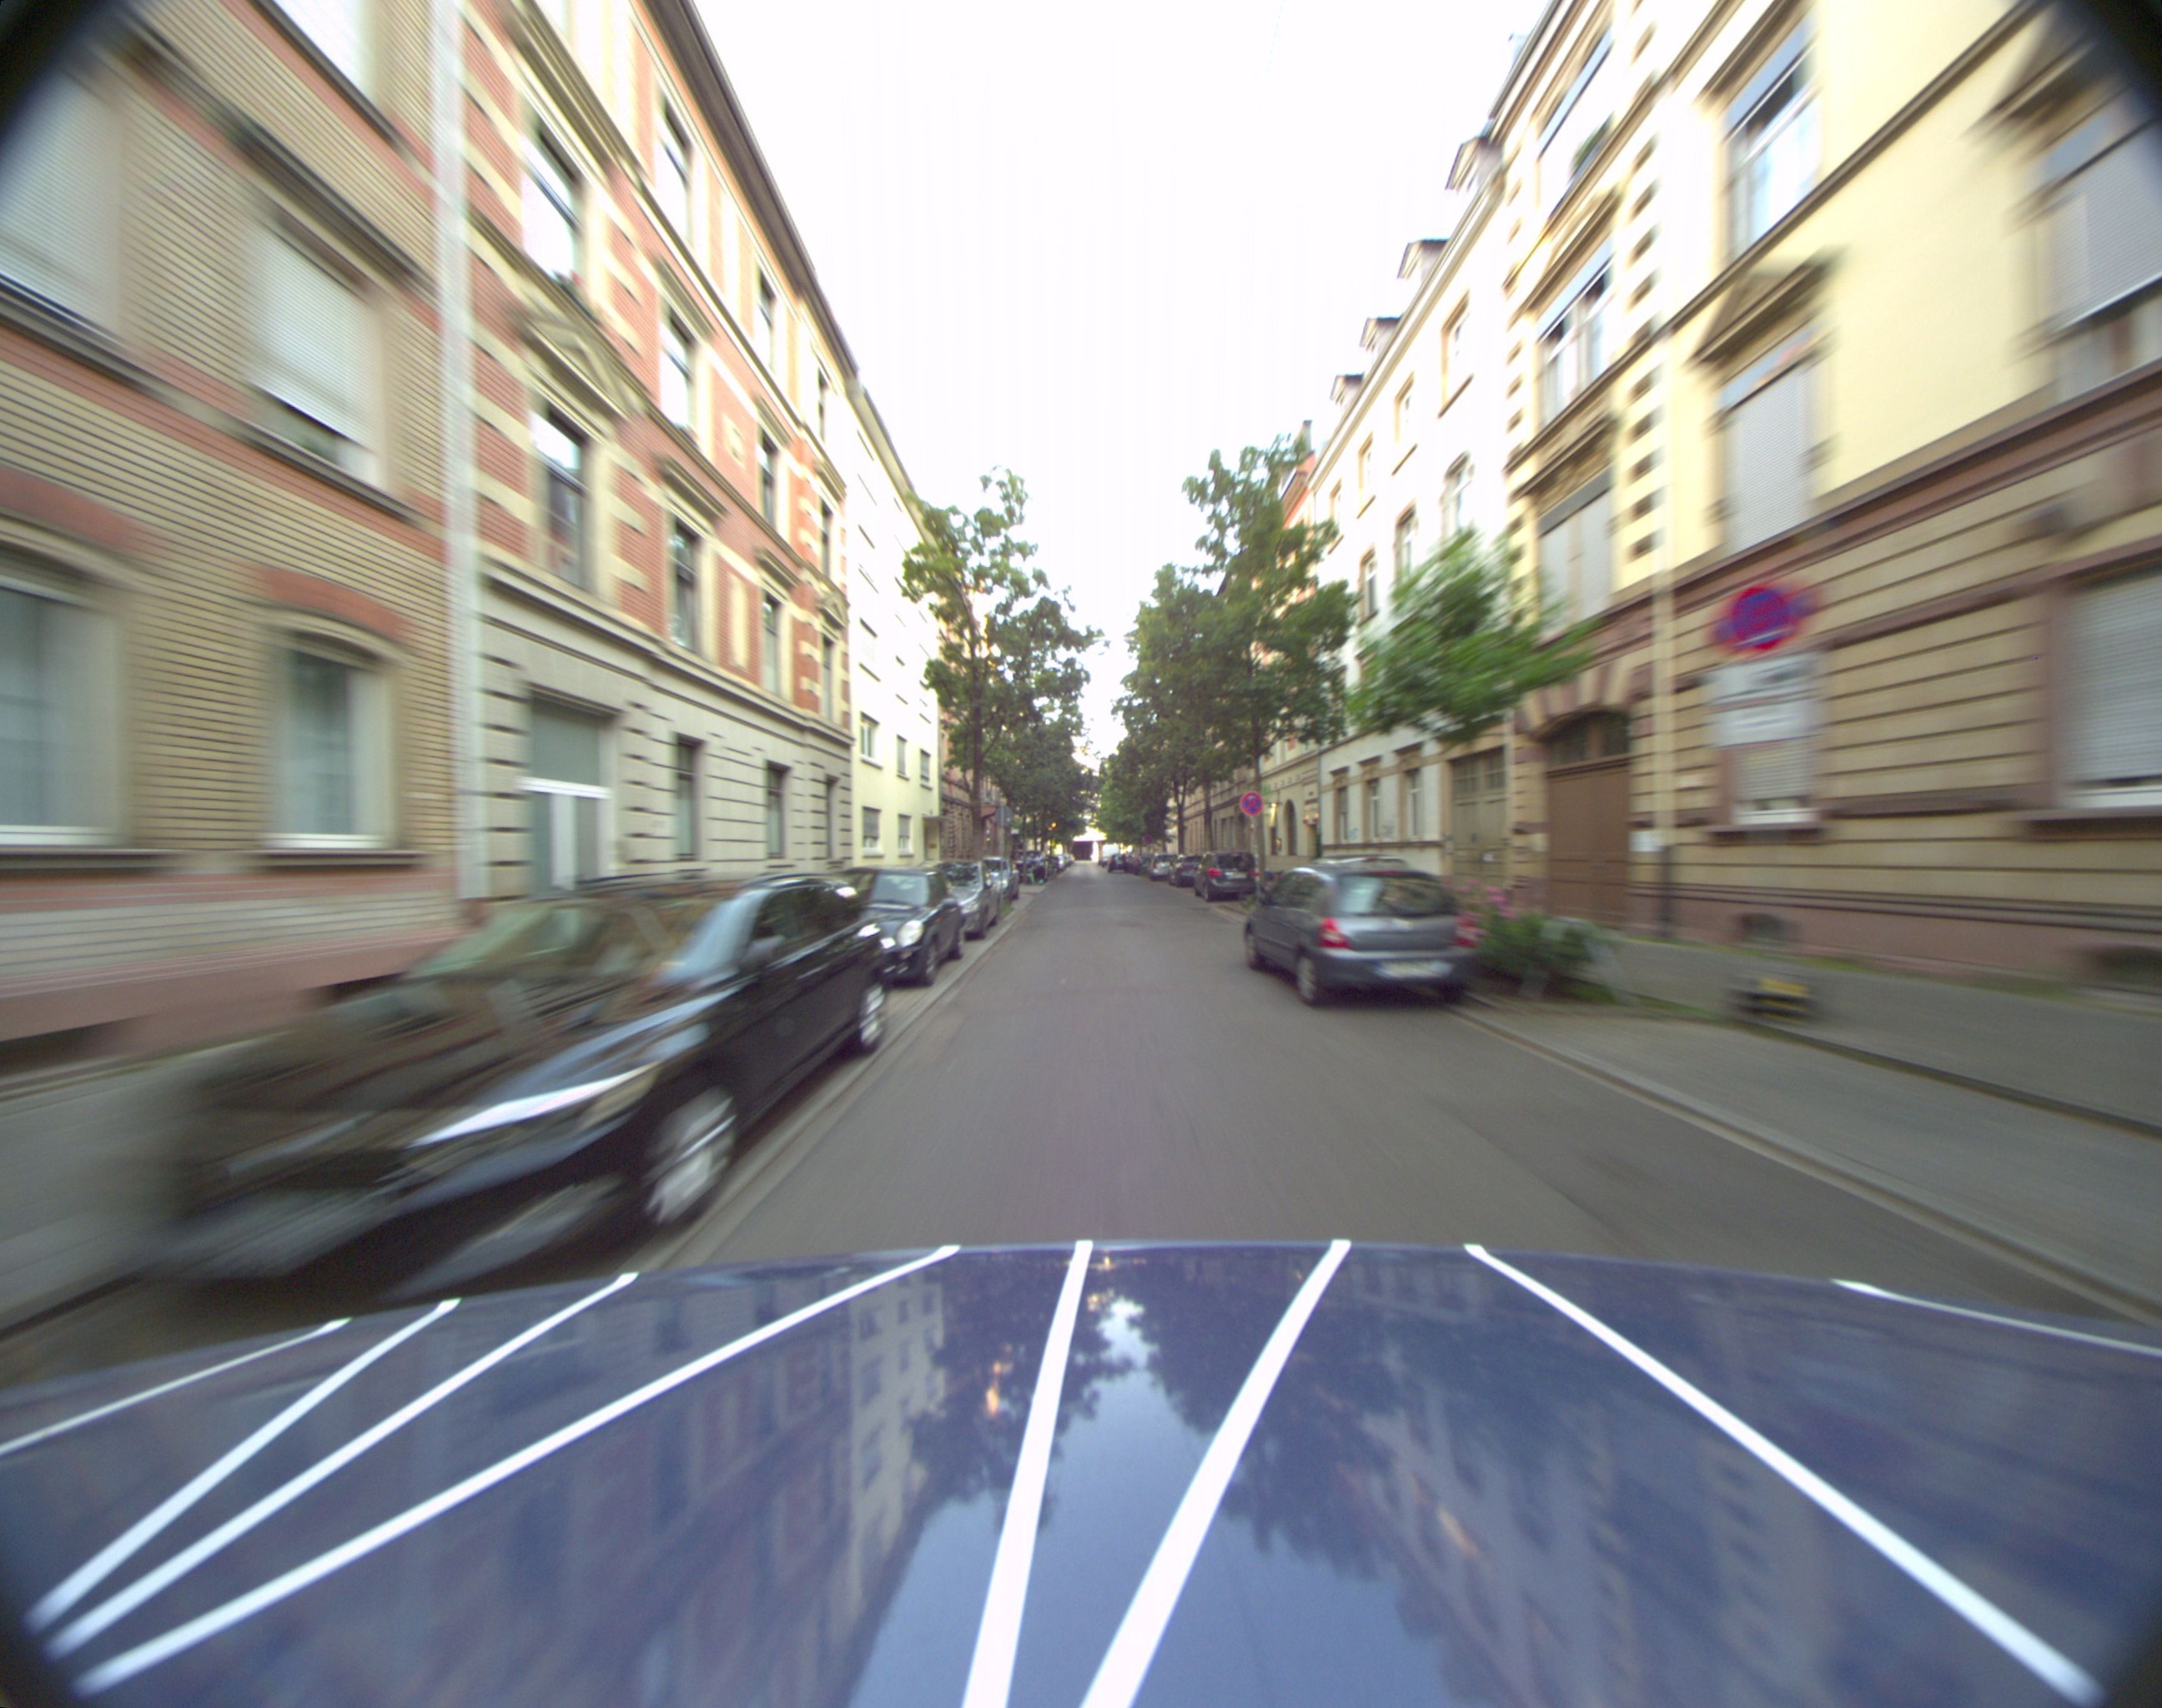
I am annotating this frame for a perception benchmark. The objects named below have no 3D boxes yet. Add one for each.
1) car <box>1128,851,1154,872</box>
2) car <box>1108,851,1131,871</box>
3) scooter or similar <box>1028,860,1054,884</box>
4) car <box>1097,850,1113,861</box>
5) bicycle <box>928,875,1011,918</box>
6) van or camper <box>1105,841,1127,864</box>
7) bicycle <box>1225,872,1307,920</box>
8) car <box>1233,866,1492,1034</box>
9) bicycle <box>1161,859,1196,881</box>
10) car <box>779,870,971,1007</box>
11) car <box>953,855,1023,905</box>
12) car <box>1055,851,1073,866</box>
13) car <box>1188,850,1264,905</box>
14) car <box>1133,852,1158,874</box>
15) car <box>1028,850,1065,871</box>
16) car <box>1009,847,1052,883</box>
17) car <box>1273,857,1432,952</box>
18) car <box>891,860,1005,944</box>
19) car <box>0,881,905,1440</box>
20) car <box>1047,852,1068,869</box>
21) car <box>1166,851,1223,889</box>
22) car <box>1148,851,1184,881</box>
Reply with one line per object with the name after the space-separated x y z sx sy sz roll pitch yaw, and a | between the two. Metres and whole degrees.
4.714 0.569 60.196 1.695 1.493 3.711 -3 1 -1 | car
3.250 0.583 64.429 1.728 1.564 4.219 -1 0 0 | car
-2.008 0.897 38.321 0.673 1.183 1.118 2 2 40 | scooter or similar
3.185 0.197 101.734 1.665 1.448 4.282 0 0 -3 | car
-2.753 1.033 18.838 1.923 0.976 0.637 -1 1 -21 | bicycle
3.898 -0.150 84.979 2.225 2.417 5.660 -1 0 0 | van or camper
4.513 0.999 18.610 1.823 1.078 0.670 -1 2 43 | bicycle
2.922 0.902 8.744 1.584 1.412 3.752 -1 0 0 | car
5.007 0.835 38.900 1.688 0.997 0.430 -4 1 2 | bicycle
-2.534 0.974 10.190 1.640 1.415 3.564 0 0 -1 | car
-2.939 0.781 24.851 1.763 1.454 4.307 -1 0 0 | car
-1.910 0.498 86.570 1.944 1.621 4.453 -2 0 0 | car
4.645 0.714 24.802 1.710 1.571 4.078 -3 0 1 | car
4.734 0.649 56.312 1.523 1.493 3.561 -3 1 0 | car
-2.745 0.510 60.387 2.804 1.590 1.800 2 1 1 | car
-2.713 0.566 42.106 2.019 1.822 4.810 1 0 0 | car
4.821 0.821 14.006 1.591 1.428 3.565 -3 0 0 | car
-2.631 0.880 15.936 1.721 1.467 4.367 0 0 -1 | car
-2.466 0.964 4.428 1.771 1.407 4.473 1 0 1 | car
-2.129 0.535 69.777 1.737 1.482 4.103 -1 0 0 | car
4.970 0.643 33.873 1.810 1.509 4.684 -3 0 0 | car
4.835 0.640 43.556 1.680 1.598 3.862 -2 0 2 | car
